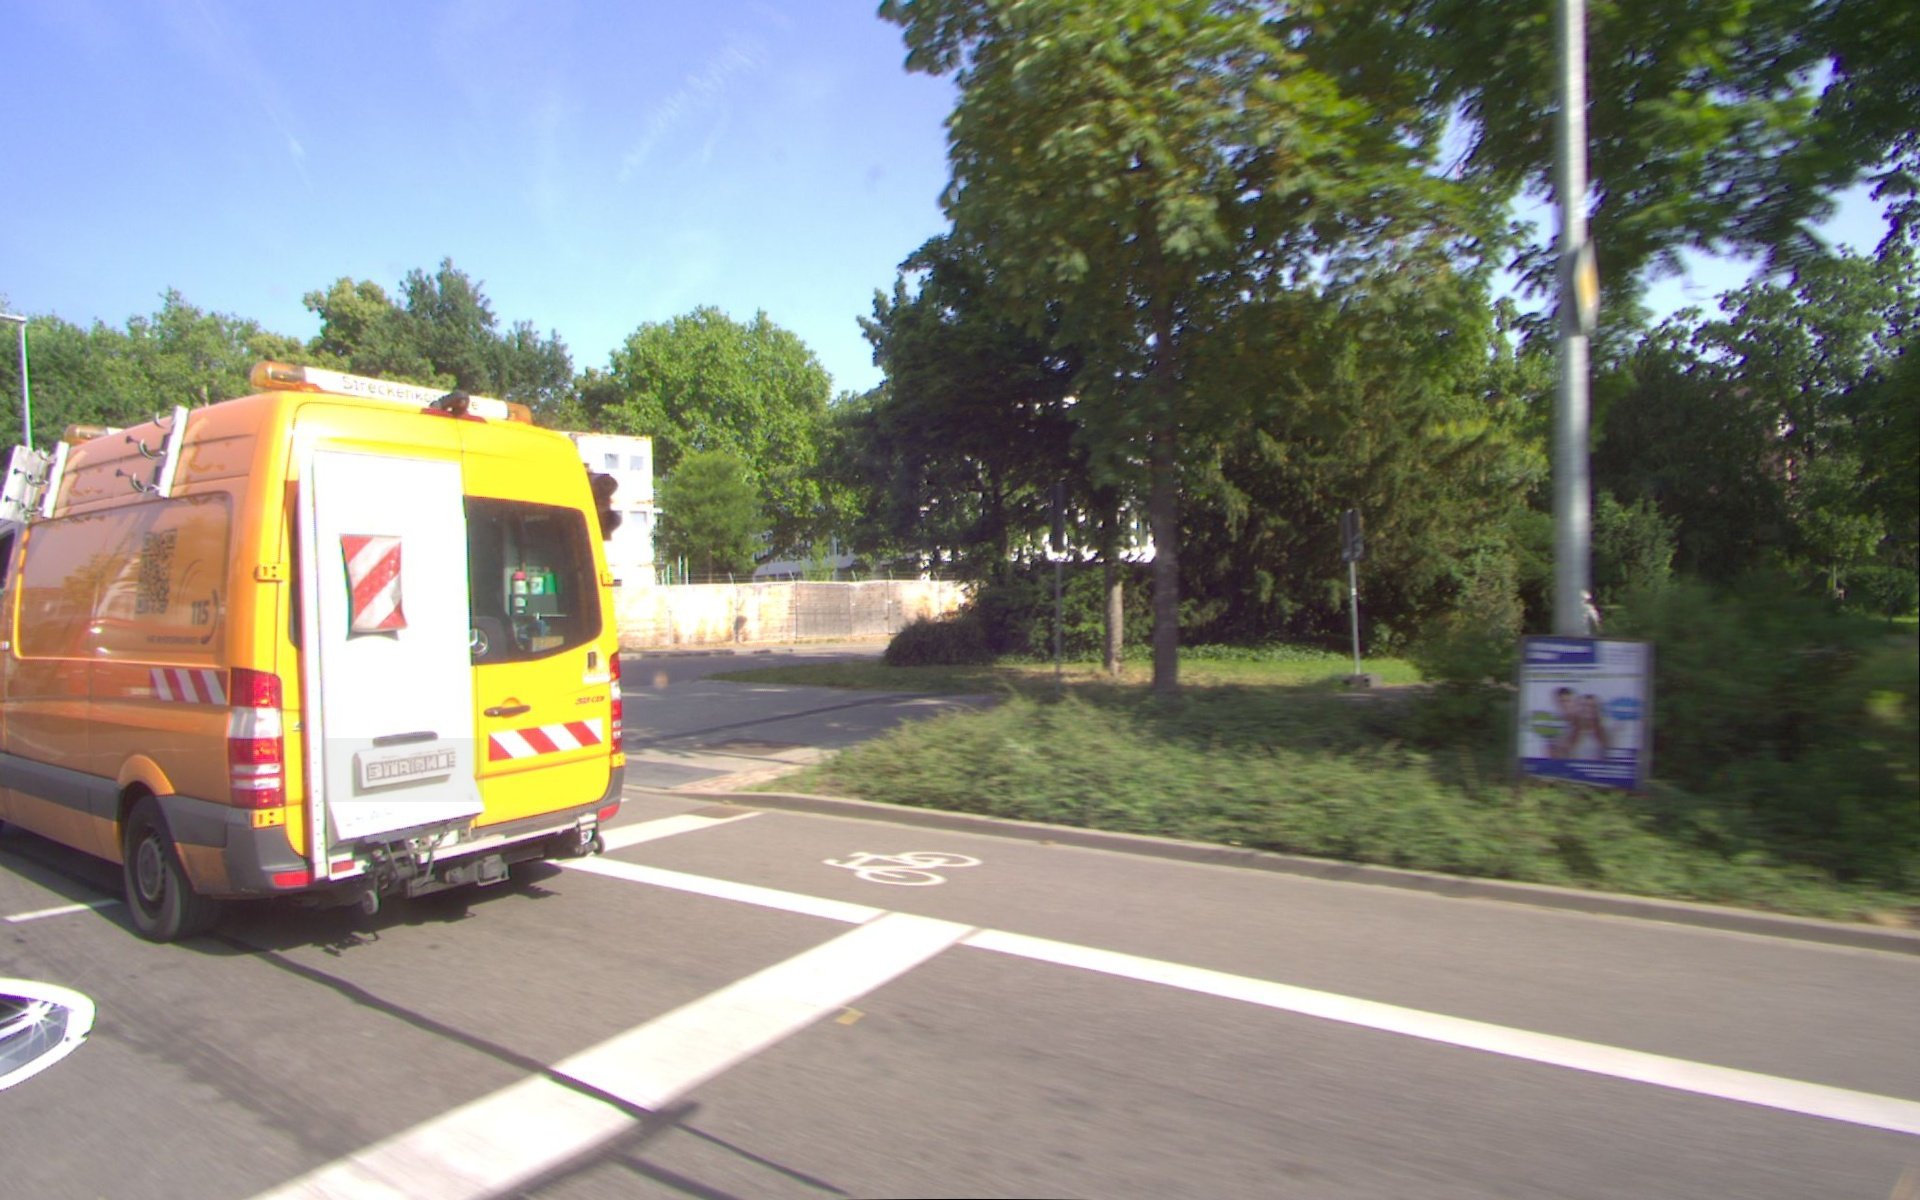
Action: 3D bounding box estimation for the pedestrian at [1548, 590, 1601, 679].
[{"bbox_3d":[10.857,0.593,17.706,0.659,1.538,0.532,-1,1,-26],"label":"pedestrian"}]

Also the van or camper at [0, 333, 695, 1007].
[{"bbox_3d":[-4.443,0.295,6.254,5.978,2.504,1.981,0,-1,35],"label":"van or camper"}]
